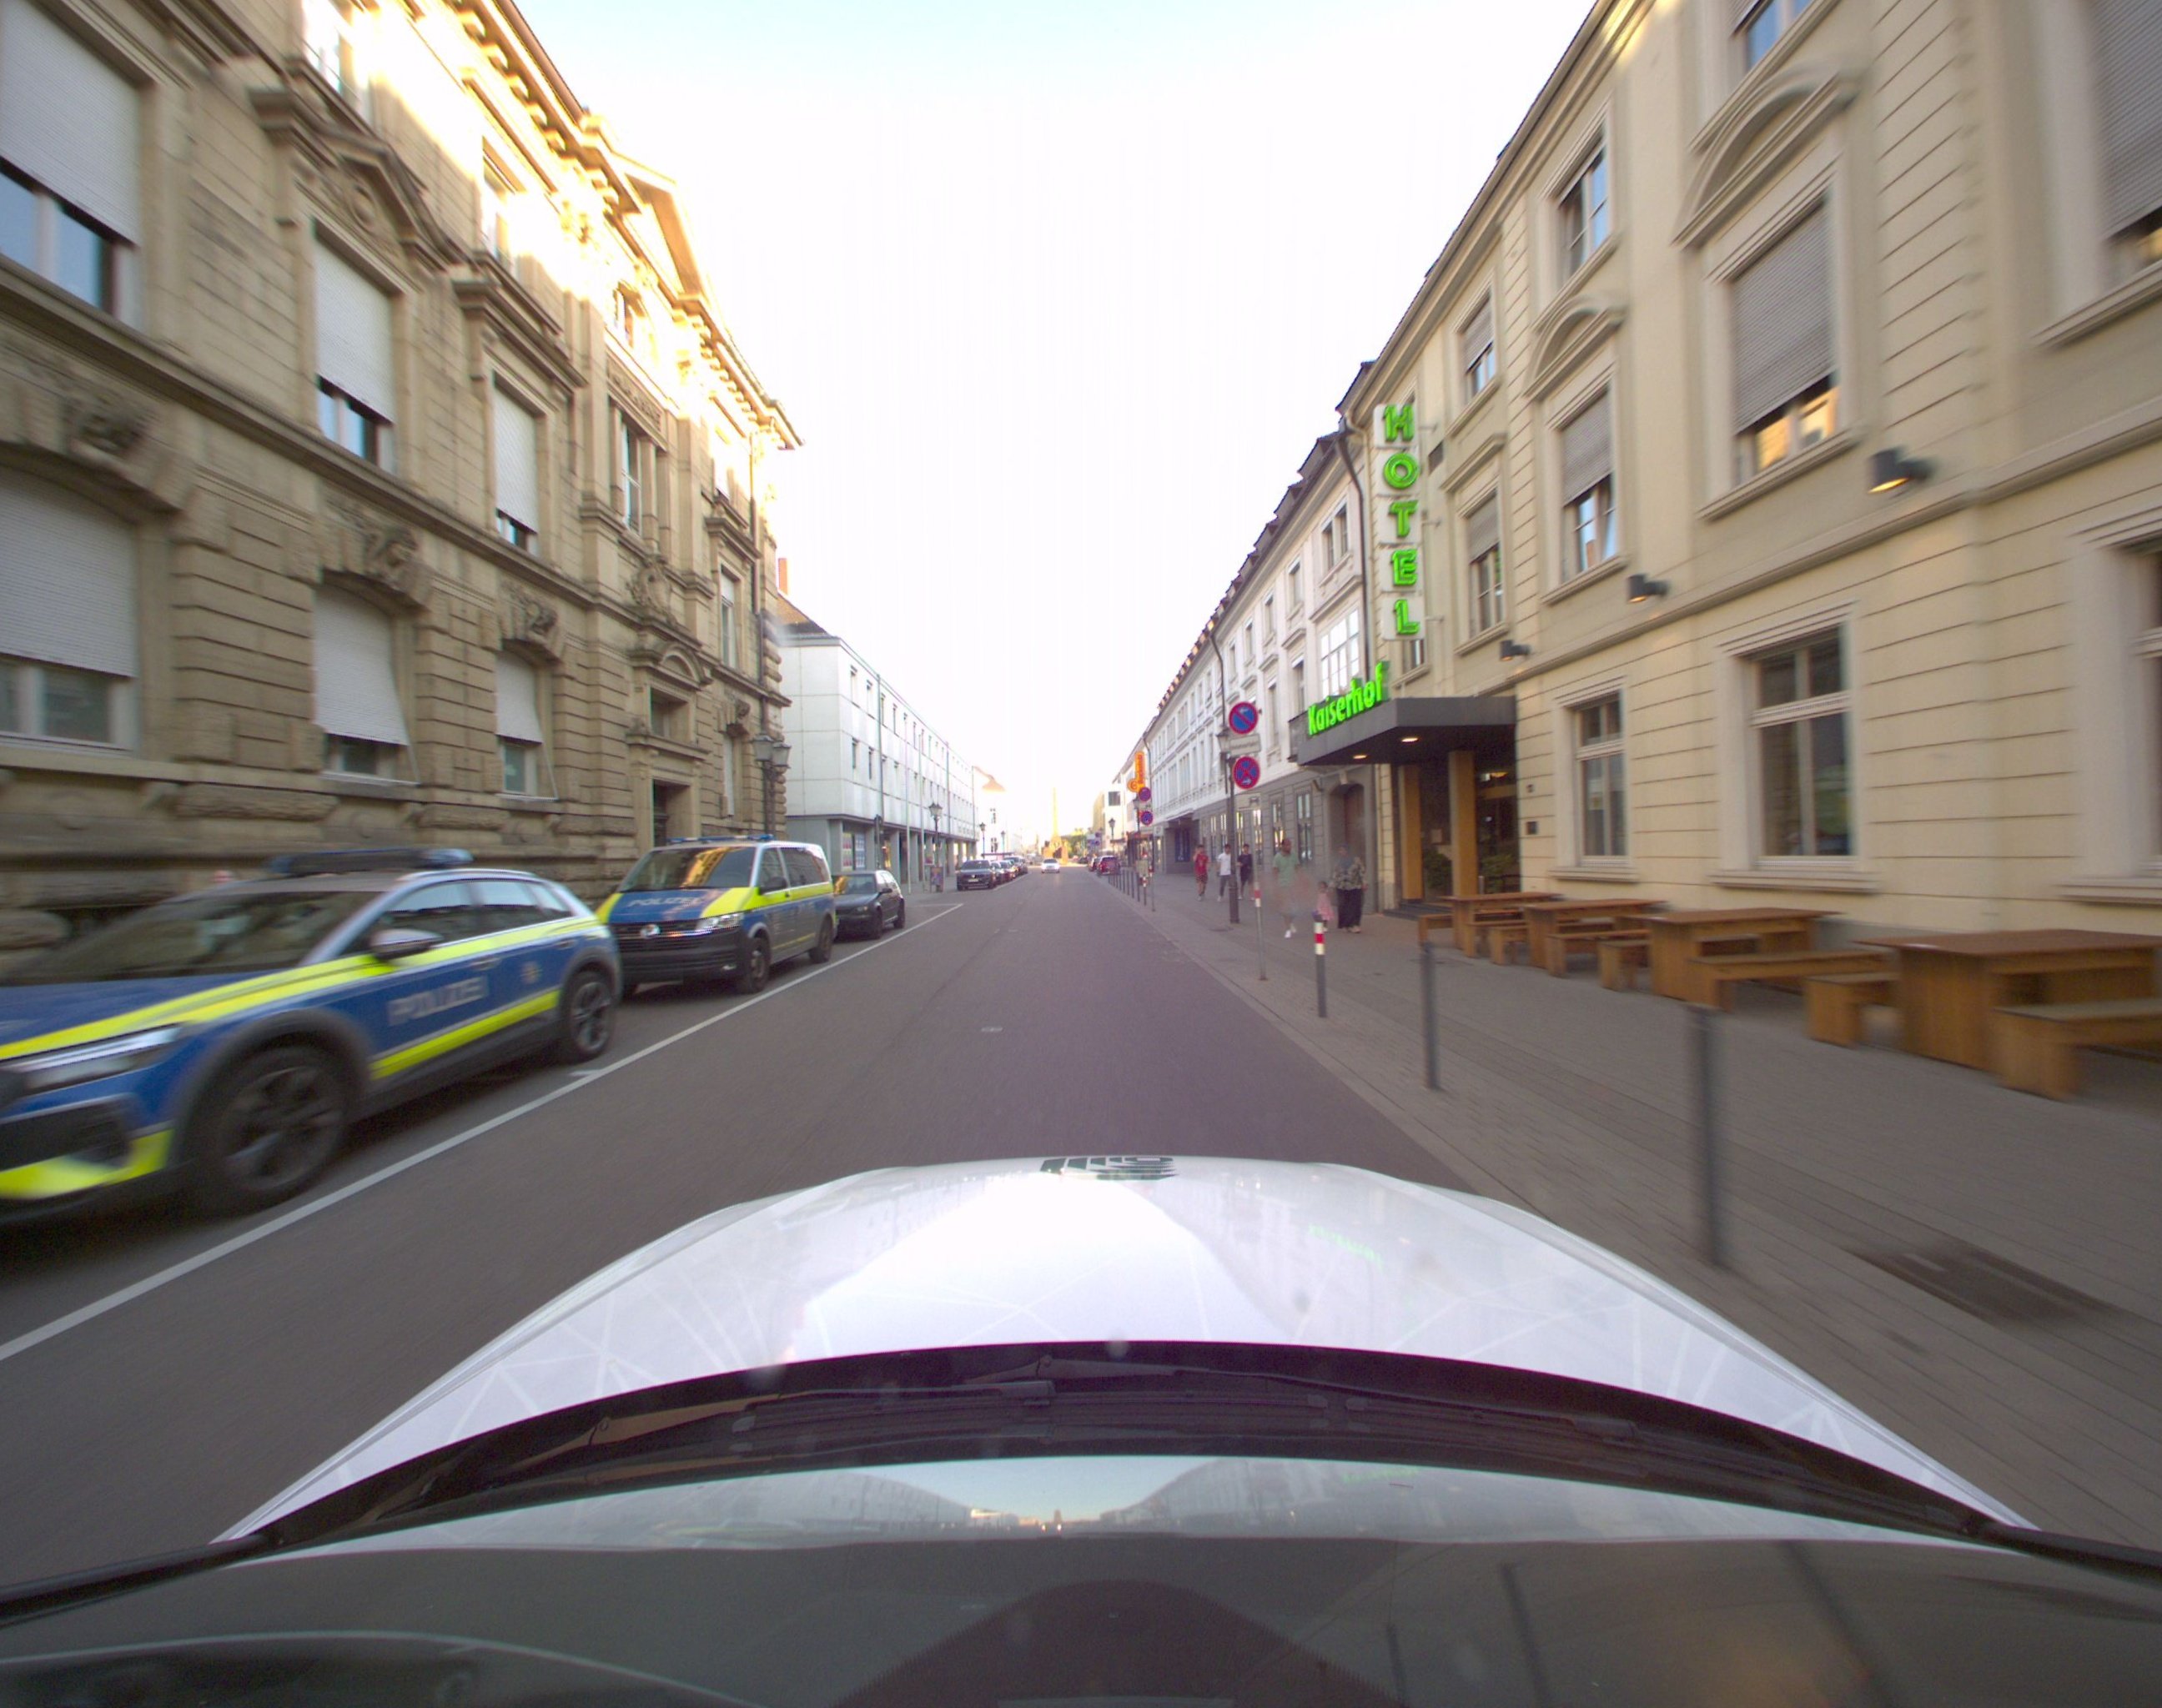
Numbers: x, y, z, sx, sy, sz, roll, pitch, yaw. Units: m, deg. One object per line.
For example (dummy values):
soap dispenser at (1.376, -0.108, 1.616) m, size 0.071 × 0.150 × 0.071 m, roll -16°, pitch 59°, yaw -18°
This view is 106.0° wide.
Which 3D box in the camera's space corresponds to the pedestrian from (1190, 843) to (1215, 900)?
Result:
pedestrian at (3.920, 0.568, 26.412) m, size 0.618 × 1.789 × 0.913 m, roll -2°, pitch 0°, yaw 0°

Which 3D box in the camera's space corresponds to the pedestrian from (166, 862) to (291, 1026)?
pedestrian at (-9.485, 0.971, 9.086) m, size 0.605 × 1.730 × 0.703 m, roll -2°, pitch -1°, yaw 0°

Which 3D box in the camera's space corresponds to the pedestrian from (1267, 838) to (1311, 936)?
pedestrian at (3.791, 0.584, 14.857) m, size 0.605 × 1.730 × 0.558 m, roll -2°, pitch -1°, yaw 0°

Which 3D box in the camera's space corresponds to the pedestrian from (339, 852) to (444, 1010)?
pedestrian at (-7.947, 0.855, 9.412) m, size 0.558 × 1.730 × 0.708 m, roll -2°, pitch -1°, yaw 0°

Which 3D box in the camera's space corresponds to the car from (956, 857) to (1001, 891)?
car at (-5.292, 0.985, 42.658) m, size 1.779 × 1.615 × 4.164 m, roll -2°, pitch 0°, yaw 0°

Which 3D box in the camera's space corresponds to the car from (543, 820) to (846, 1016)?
car at (-4.995, 0.742, 11.522) m, size 1.989 × 2.077 × 4.985 m, roll -2°, pitch -1°, yaw -2°

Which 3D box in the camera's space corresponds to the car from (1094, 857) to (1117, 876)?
car at (1.979, 1.012, 66.806) m, size 1.754 × 1.523 × 3.675 m, roll -2°, pitch 0°, yaw -1°

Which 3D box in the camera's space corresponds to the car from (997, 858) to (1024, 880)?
car at (-6.201, 1.294, 72.193) m, size 1.988 × 1.728 × 4.514 m, roll -3°, pitch 0°, yaw -1°

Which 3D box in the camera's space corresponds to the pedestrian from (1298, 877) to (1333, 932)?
pedestrian at (4.382, 0.930, 15.226) m, size 0.458 × 0.980 × 0.558 m, roll -2°, pitch 0°, yaw 0°

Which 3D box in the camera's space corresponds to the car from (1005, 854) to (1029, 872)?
car at (-6.169, 0.865, 78.998) m, size 1.988 × 1.662 × 3.998 m, roll -2°, pitch 0°, yaw -1°

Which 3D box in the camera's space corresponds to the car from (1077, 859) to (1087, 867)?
car at (0.191, 1.858, 162.250) m, size 1.987 × 1.464 × 4.000 m, roll -2°, pitch 0°, yaw 0°

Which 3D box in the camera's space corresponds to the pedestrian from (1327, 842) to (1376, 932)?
pedestrian at (4.945, 0.590, 14.923) m, size 0.628 × 1.601 × 0.615 m, roll -2°, pitch -1°, yaw 0°

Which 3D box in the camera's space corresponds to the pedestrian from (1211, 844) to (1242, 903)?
pedestrian at (4.413, 0.579, 24.716) m, size 0.745 × 1.730 × 0.881 m, roll -2°, pitch 0°, yaw 2°

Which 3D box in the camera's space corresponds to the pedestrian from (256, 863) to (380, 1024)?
pedestrian at (-8.663, 0.979, 9.278) m, size 0.580 × 1.730 × 0.830 m, roll -2°, pitch 0°, yaw 0°

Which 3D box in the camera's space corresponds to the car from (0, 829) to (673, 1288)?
car at (-4.938, 0.853, 5.583) m, size 1.990 × 1.752 × 4.982 m, roll -2°, pitch -1°, yaw -4°

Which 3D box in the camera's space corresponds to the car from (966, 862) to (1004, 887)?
car at (-5.814, 1.217, 49.724) m, size 1.779 × 1.408 × 4.087 m, roll -2°, pitch 0°, yaw 0°

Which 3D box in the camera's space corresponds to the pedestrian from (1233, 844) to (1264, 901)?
pedestrian at (5.164, 0.563, 25.147) m, size 0.711 × 1.730 × 0.873 m, roll -2°, pitch 0°, yaw 1°

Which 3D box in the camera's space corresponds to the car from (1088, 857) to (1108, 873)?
car at (1.676, 1.106, 80.645) m, size 1.796 × 1.464 × 4.115 m, roll -2°, pitch 0°, yaw -1°

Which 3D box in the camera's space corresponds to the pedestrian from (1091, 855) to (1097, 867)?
pedestrian at (1.828, 0.927, 113.268) m, size 0.688 × 1.647 × 0.695 m, roll -2°, pitch 0°, yaw -2°

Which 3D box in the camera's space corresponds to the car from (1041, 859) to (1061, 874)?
car at (-2.851, 1.185, 78.582) m, size 1.779 × 1.408 × 4.087 m, roll -2°, pitch 0°, yaw 0°

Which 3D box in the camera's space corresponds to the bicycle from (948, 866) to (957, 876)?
bicycle at (-14.313, 1.884, 90.597) m, size 0.731 × 0.983 × 2.333 m, roll -2°, pitch 0°, yaw -3°

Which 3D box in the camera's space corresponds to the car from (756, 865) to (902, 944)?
car at (-5.487, 1.033, 18.349) m, size 1.988 × 1.494 × 4.163 m, roll -2°, pitch -1°, yaw -1°
